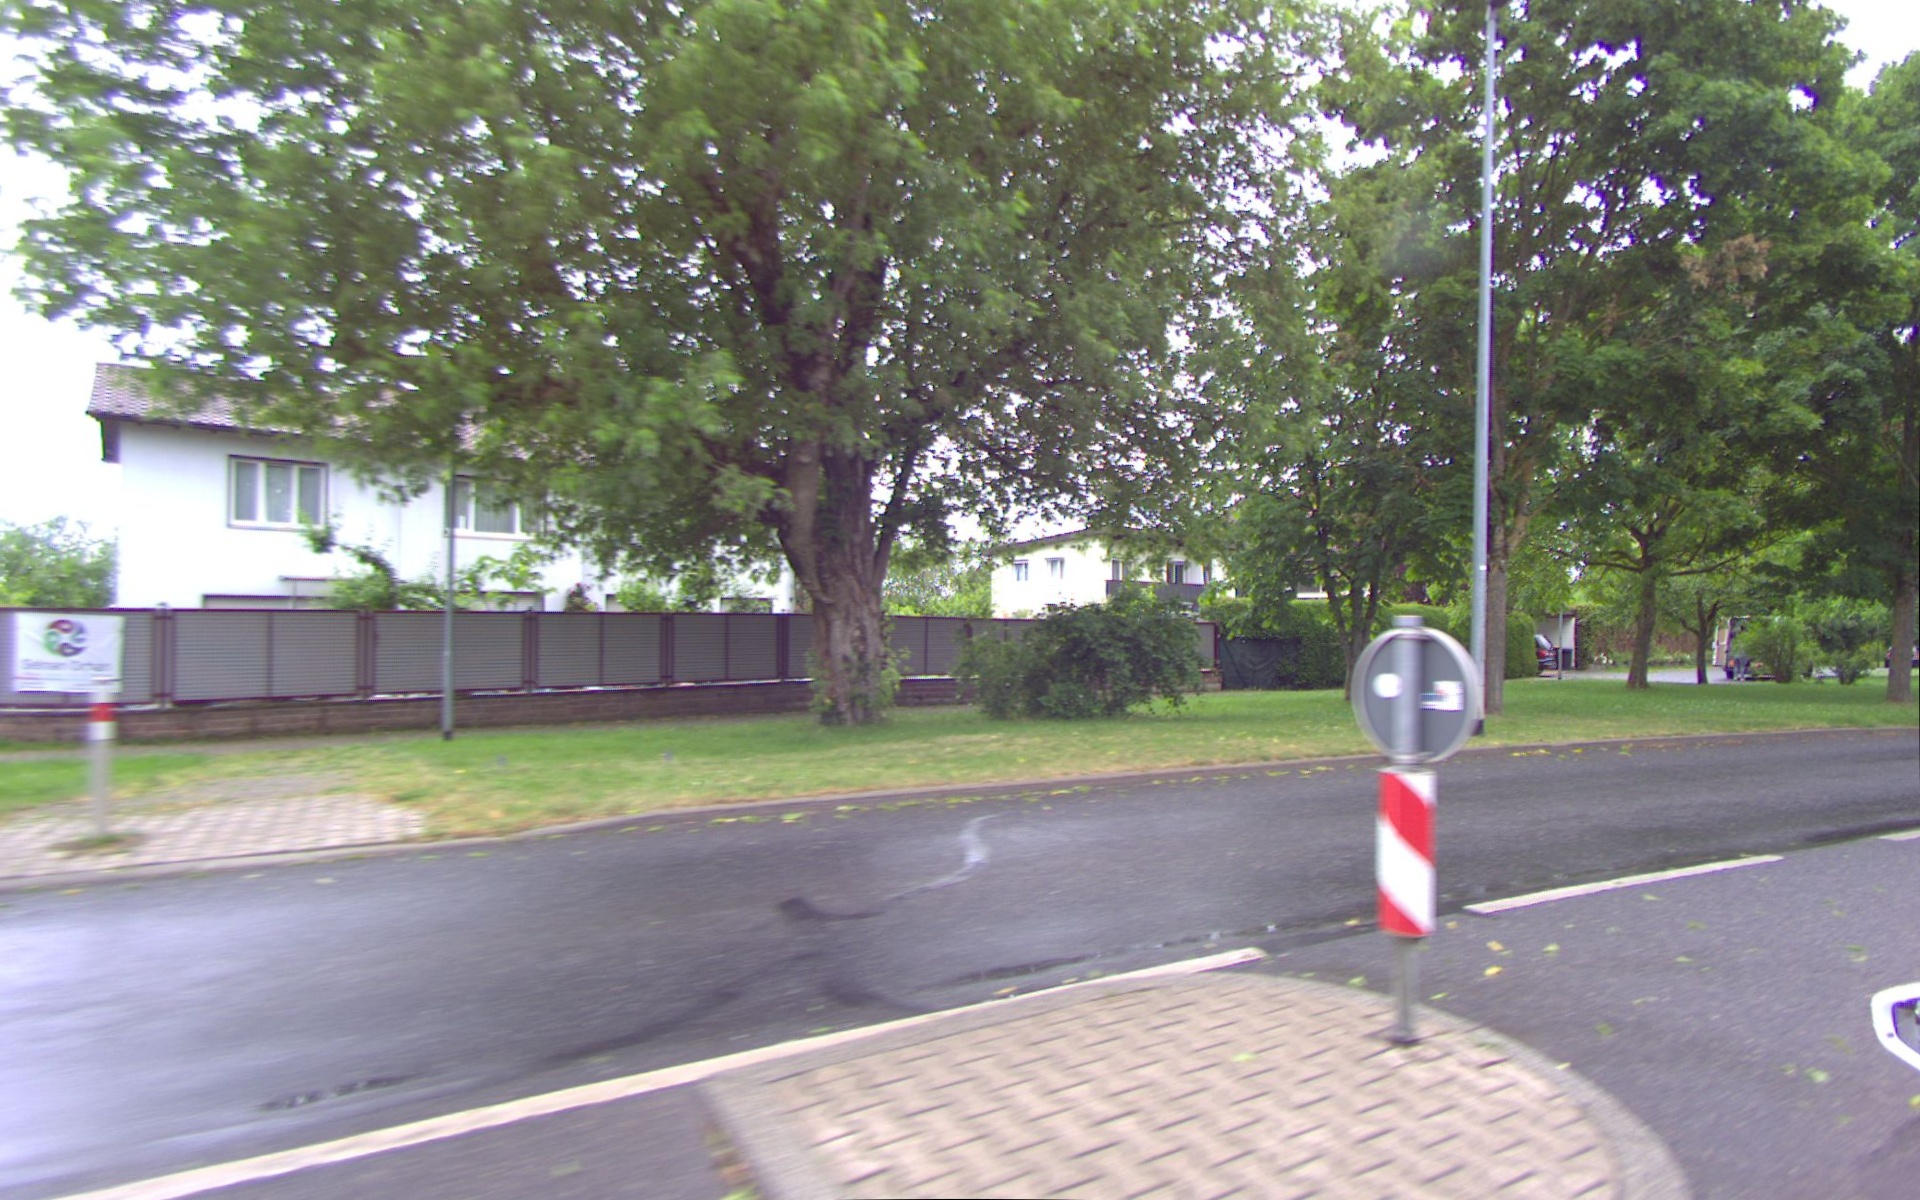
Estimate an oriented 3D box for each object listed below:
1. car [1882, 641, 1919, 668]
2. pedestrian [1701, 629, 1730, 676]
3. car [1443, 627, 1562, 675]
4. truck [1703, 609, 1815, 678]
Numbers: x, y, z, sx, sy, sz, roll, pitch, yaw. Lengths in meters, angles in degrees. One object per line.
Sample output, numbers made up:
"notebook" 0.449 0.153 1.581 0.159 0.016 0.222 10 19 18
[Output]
"car" 56.351 3.213 59.945 3.085 1.550 1.467 2 -2 -38
"pedestrian" 30.001 2.073 39.878 0.816 1.865 0.704 1 -1 -36
"car" 22.350 2.047 41.473 1.864 1.840 3.954 2 -2 -40
"truck" 32.988 1.775 41.403 5.819 2.631 2.268 2 -2 -37
